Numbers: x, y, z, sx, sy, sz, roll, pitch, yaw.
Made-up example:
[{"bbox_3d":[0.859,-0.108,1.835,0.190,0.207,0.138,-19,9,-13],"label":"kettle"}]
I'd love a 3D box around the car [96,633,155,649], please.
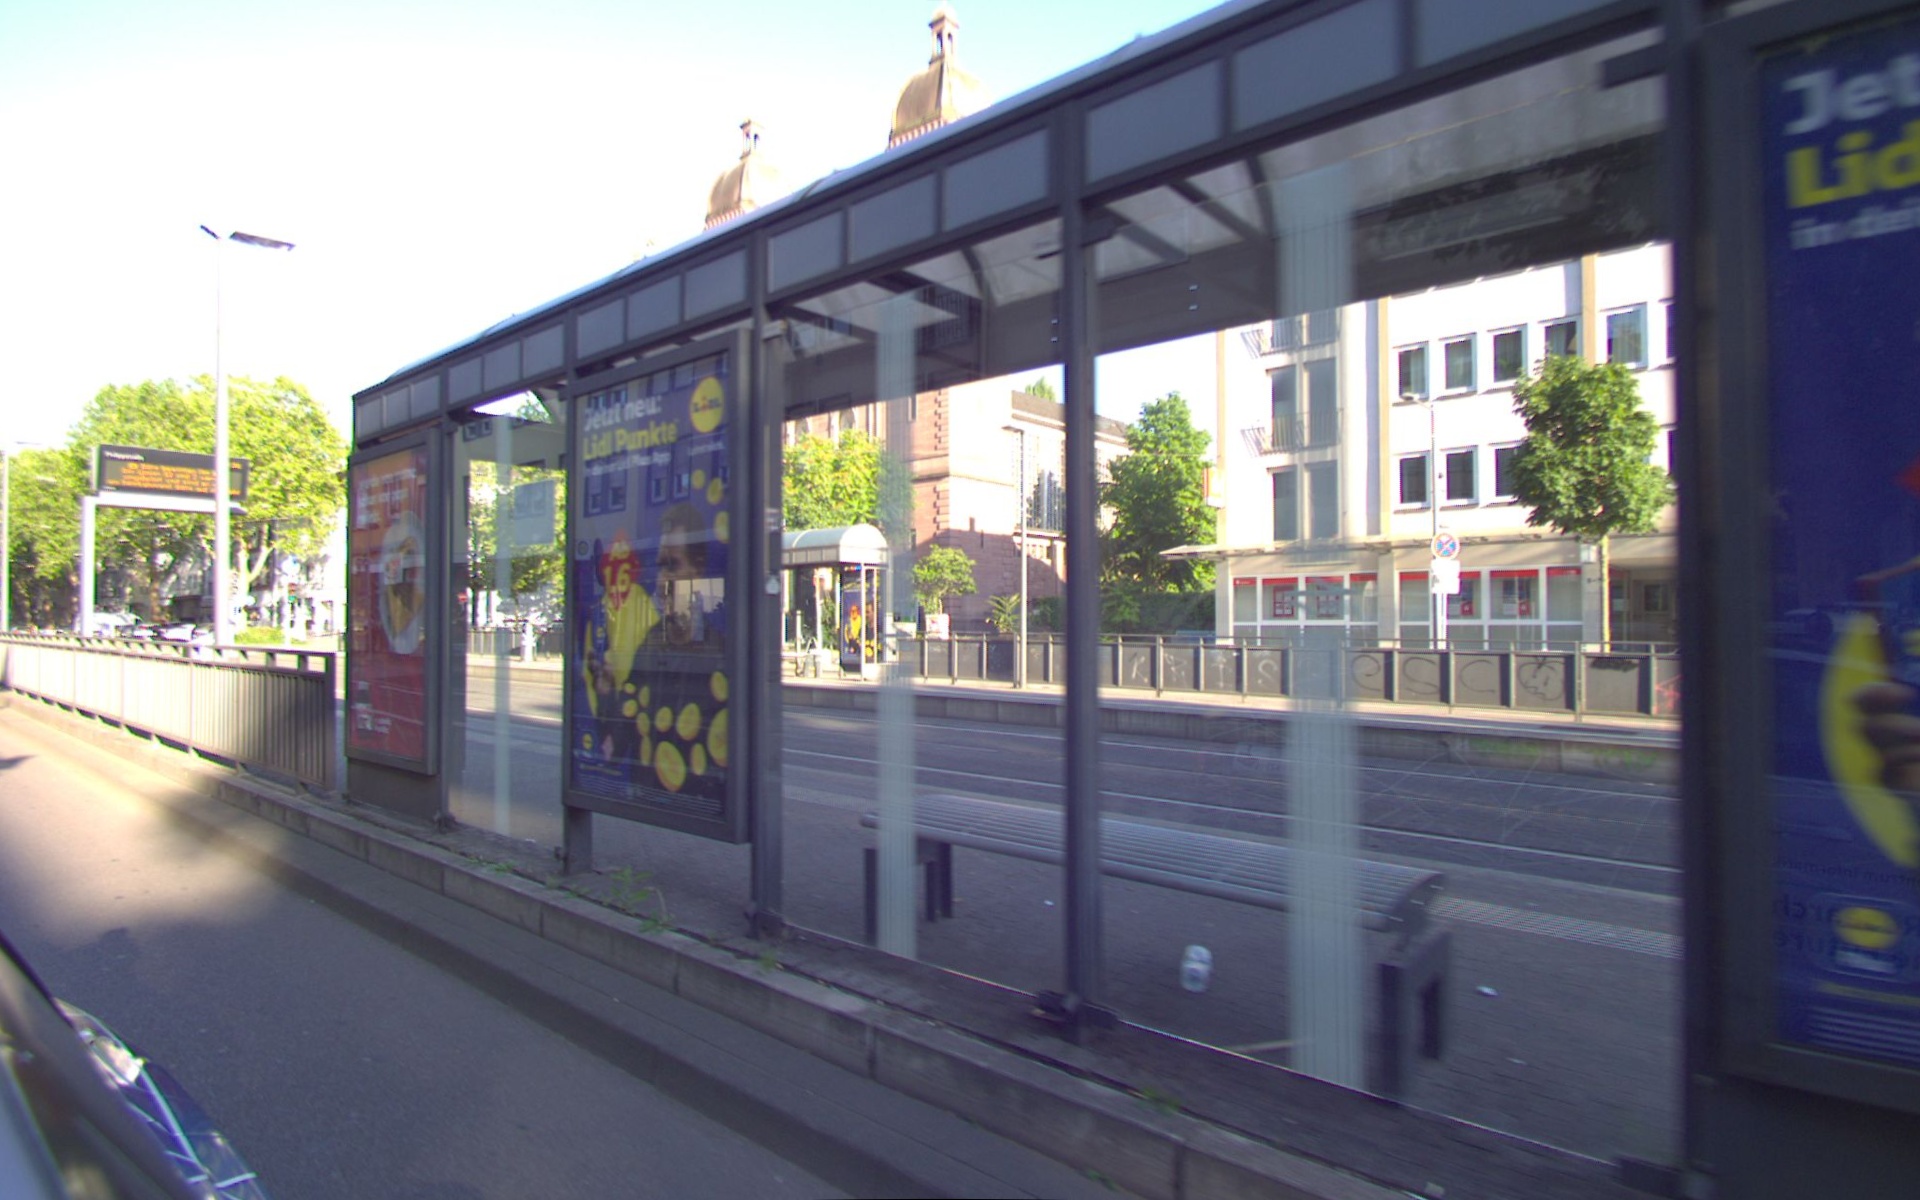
[{"bbox_3d":[-81.048,3.976,98.291,1.985,1.530,3.972,-1,-2,20],"label":"car"}]

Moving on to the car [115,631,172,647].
[{"bbox_3d":[-75.365,3.568,93.457,1.582,1.470,4.250,0,-2,5],"label":"car"}]

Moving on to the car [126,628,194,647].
[{"bbox_3d":[-67.592,3.160,85.580,1.634,1.569,4.220,-1,-2,25],"label":"car"}]

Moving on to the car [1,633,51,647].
[{"bbox_3d":[-112.146,4.813,121.563,1.981,1.719,3.982,-1,-2,14],"label":"car"}]

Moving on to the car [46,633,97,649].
[{"bbox_3d":[-102.171,4.671,116.443,1.981,1.830,3.982,-1,-2,14],"label":"car"}]

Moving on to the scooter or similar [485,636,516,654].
[{"bbox_3d":[-31.799,3.146,70.021,2.447,1.135,1.082,-5,-5,42],"label":"scooter or similar"}]

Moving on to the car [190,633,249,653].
[{"bbox_3d":[-56.411,3.248,77.205,1.717,1.443,3.972,-1,-2,-2],"label":"car"}]

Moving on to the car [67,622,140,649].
[{"bbox_3d":[-90.232,3.761,106.751,2.161,2.721,5.582,-1,-2,16],"label":"car"}]

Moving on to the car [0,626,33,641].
[{"bbox_3d":[-144.344,5.114,154.077,2.072,2.230,4.942,0,-2,-1],"label":"car"}]

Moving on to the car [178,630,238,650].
[{"bbox_3d":[-58.821,3.128,79.275,1.805,1.516,3.972,0,-2,-2],"label":"car"}]

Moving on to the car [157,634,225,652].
[{"bbox_3d":[-61.149,3.387,80.557,2.123,1.388,4.256,0,-2,0],"label":"car"}]

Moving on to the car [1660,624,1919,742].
[{"bbox_3d":[13.685,1.271,16.799,1.747,1.692,3.508,0,-1,3],"label":"car"}]

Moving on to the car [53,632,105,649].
[{"bbox_3d":[-99.595,4.592,114.425,1.981,1.830,3.982,-1,-2,14],"label":"car"}]

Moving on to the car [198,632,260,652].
[{"bbox_3d":[-54.005,3.077,74.859,1.747,1.443,3.972,0,-2,-2],"label":"car"}]

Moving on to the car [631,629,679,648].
[{"bbox_3d":[-24.145,3.056,80.069,3.998,1.409,1.792,-3,-3,42],"label":"car"}]

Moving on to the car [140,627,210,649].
[{"bbox_3d":[-63.839,3.076,82.409,2.127,1.697,4.249,0,-2,6],"label":"car"}]

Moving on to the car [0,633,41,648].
[{"bbox_3d":[-112.720,4.800,120.775,1.997,1.719,4.183,-2,-3,37],"label":"car"}]
